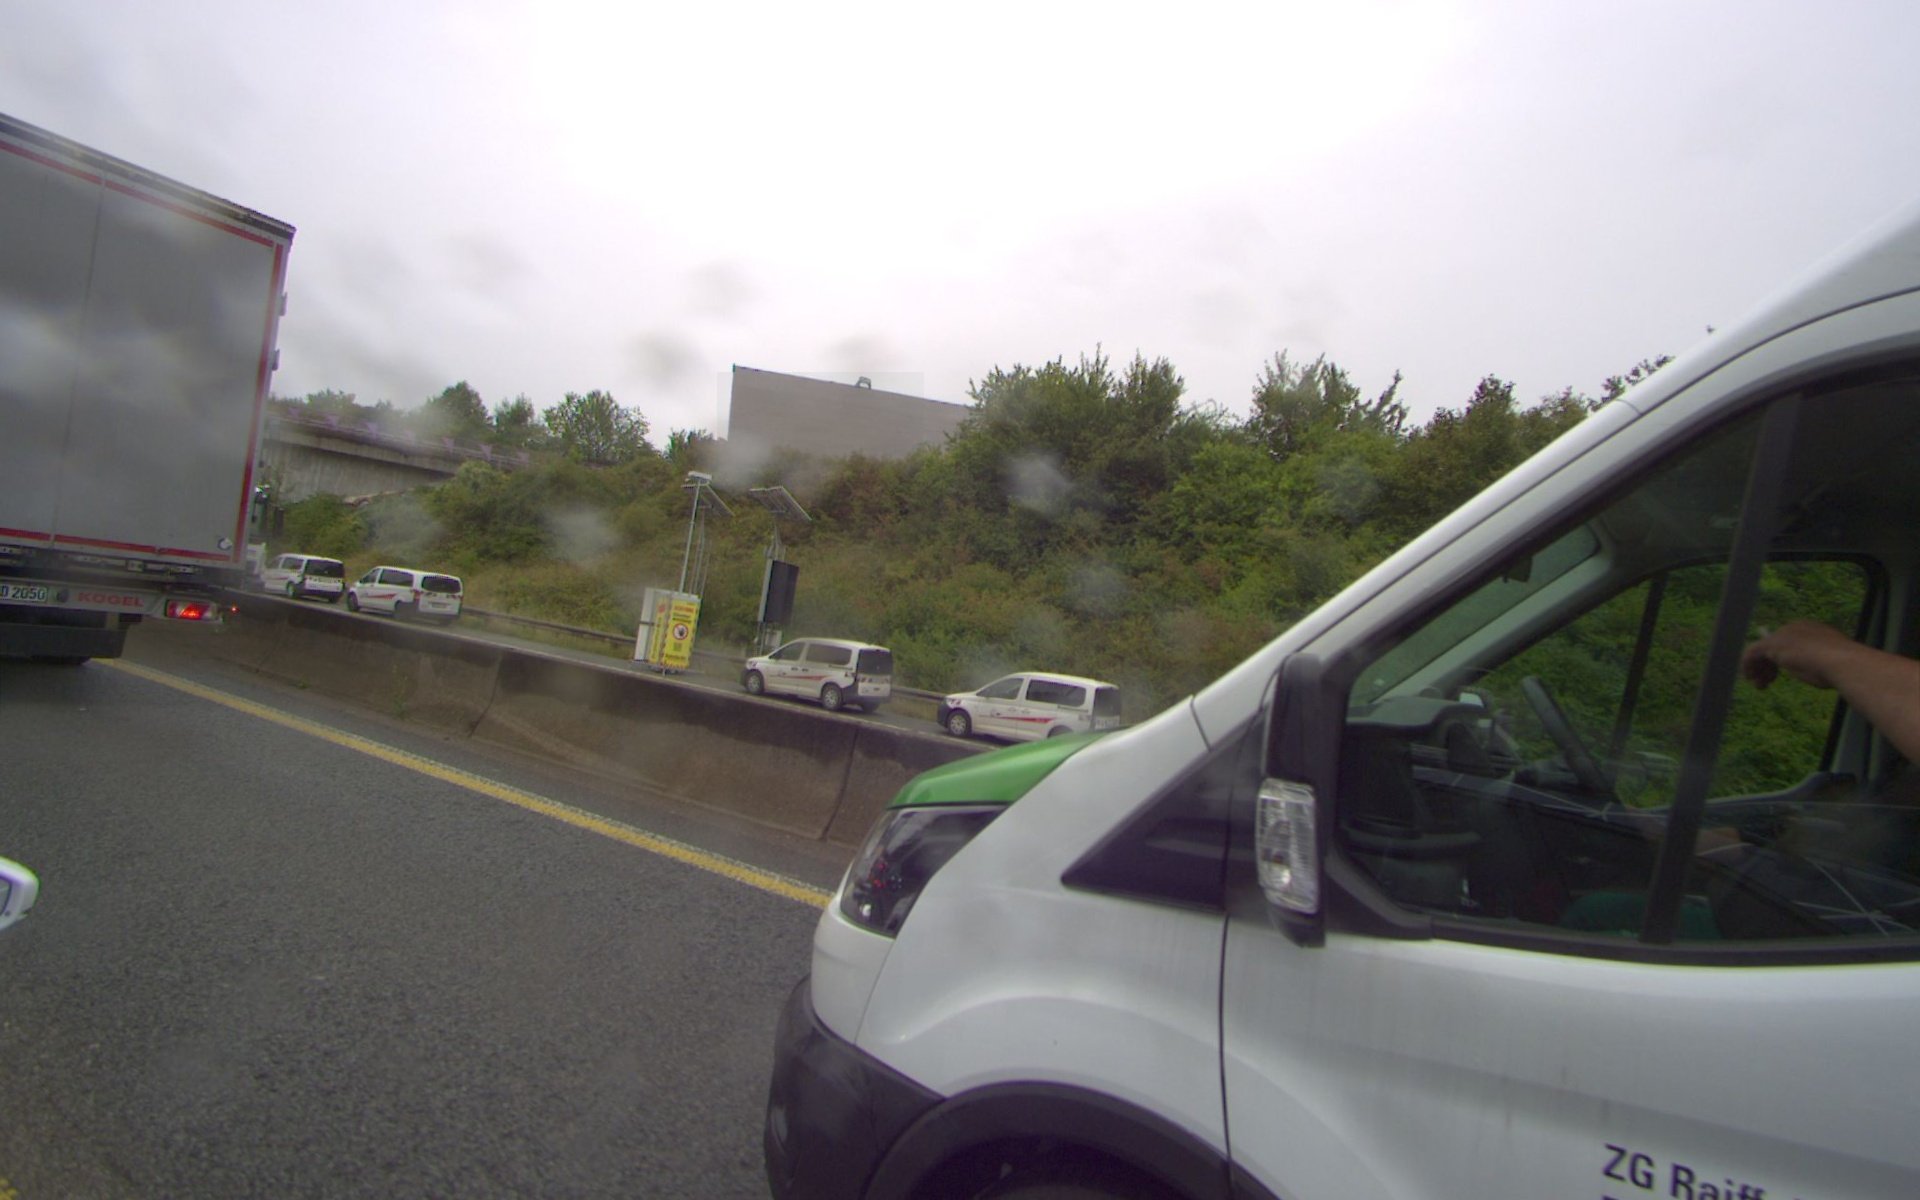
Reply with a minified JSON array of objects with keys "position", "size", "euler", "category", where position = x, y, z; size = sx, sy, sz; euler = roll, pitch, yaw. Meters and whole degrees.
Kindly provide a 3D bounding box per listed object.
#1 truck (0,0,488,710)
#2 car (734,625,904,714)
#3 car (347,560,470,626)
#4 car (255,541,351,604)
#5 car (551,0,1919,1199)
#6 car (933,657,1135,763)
[{"position":[-13.993,-3.002,12.781],"size":[20.044,5.740,3.986],"euler":[6,-1,33],"category":"truck"},{"position":[-3.805,1.843,27.037],"size":[4.196,1.778,1.732],"euler":[7,-1,31],"category":"car"},{"position":[-20.609,-0.267,37.536],"size":[4.651,1.850,1.945],"euler":[6,-2,34],"category":"car"},{"position":[-27.252,-1.147,41.693],"size":[4.058,2.082,1.731],"euler":[6,-1,34],"category":"car"},{"position":[2.398,0.445,1.282],"size":[6.017,2.707,2.148],"euler":[6,-1,33],"category":"car"},{"position":[1.714,2.532,23.653],"size":[4.257,1.790,1.732],"euler":[7,-1,31],"category":"car"}]
